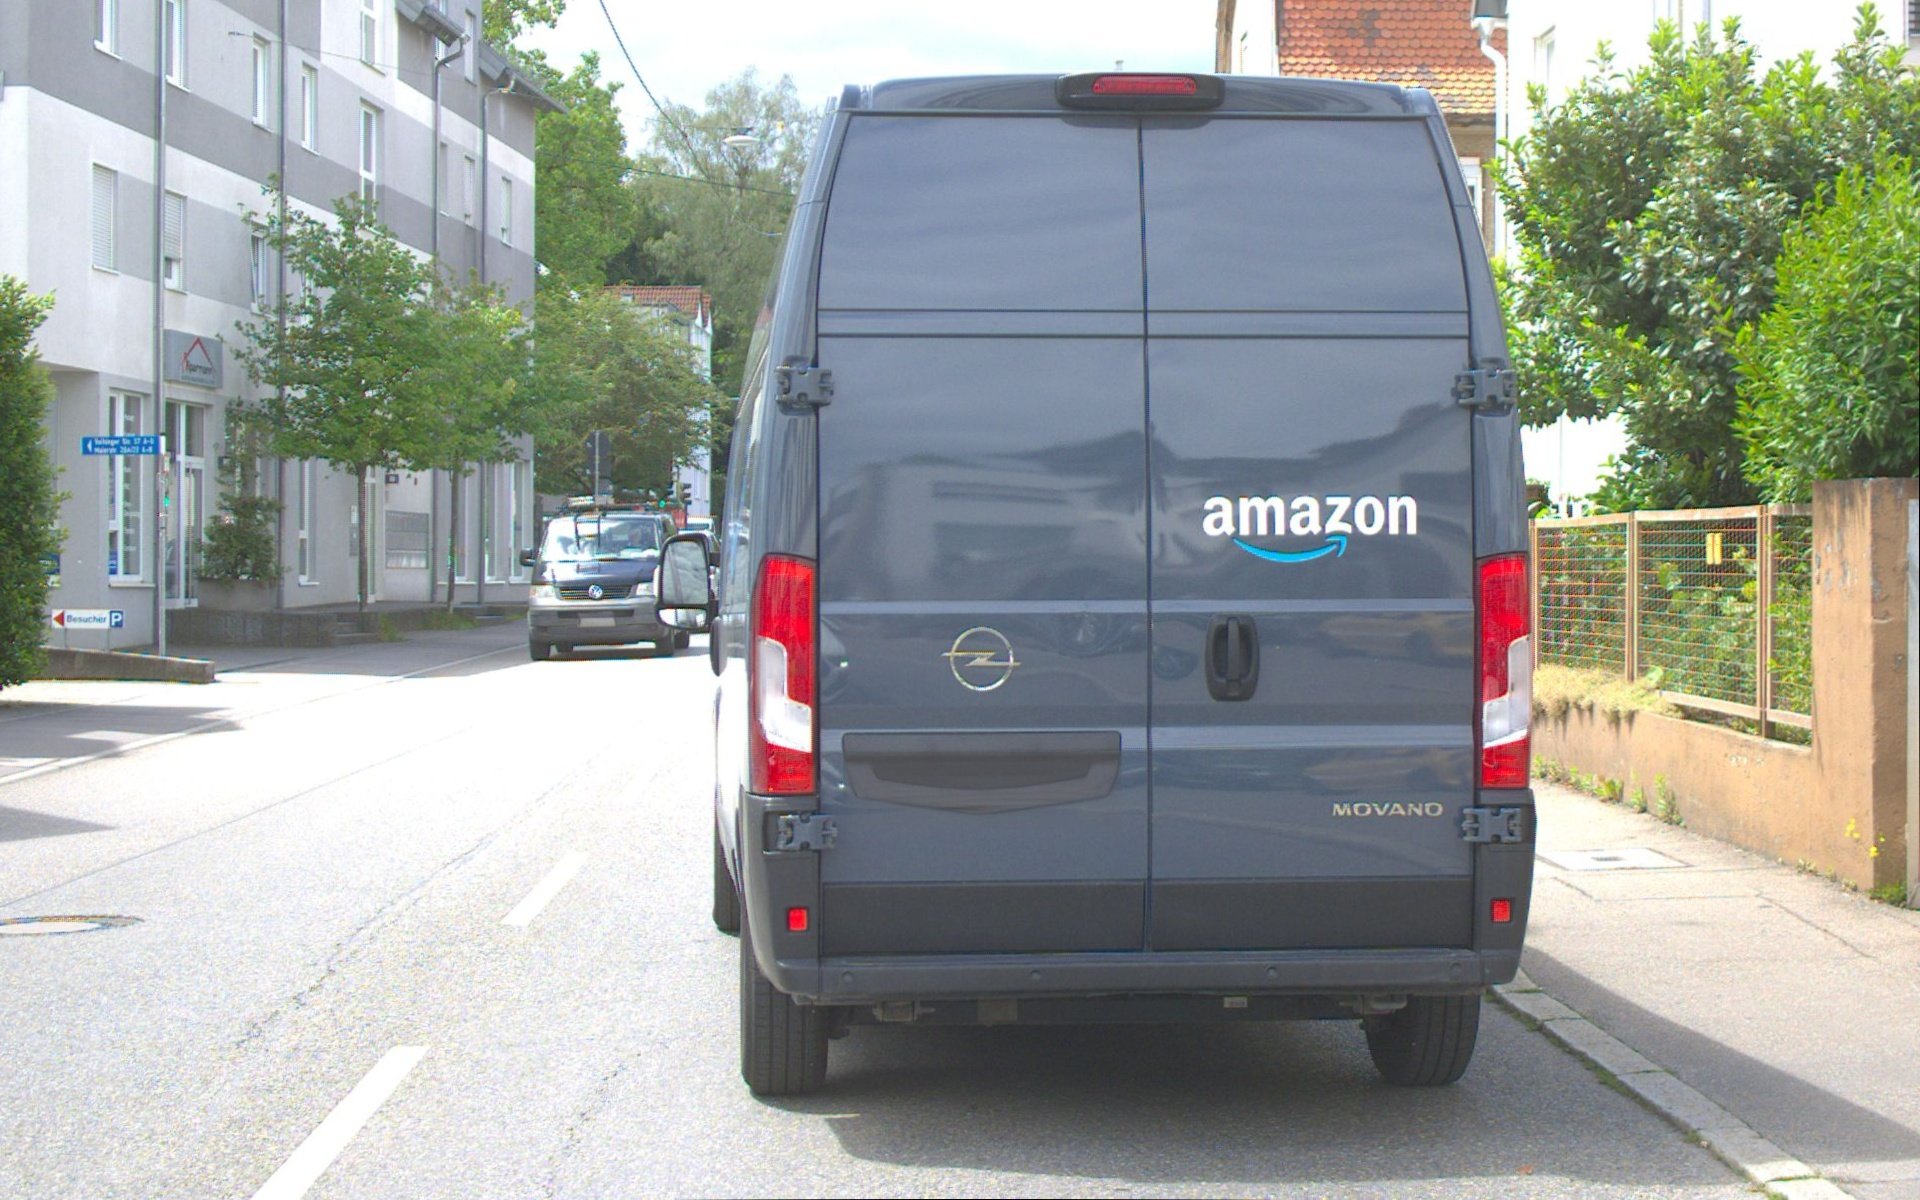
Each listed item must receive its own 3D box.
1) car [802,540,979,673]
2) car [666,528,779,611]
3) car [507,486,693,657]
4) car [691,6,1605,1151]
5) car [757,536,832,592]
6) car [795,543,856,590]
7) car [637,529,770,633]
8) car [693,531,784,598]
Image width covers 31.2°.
[{"bbox_3d":[-0.756,0.038,39.976,1.896,1.448,3.968,0,1,1],"label":"car"},{"bbox_3d":[-4.663,-0.628,68.065,2.105,1.590,4.650,0,1,-2],"label":"car"},{"bbox_3d":[-4.763,-0.409,46.129,2.105,2.114,4.766,-2,1,-2],"label":"car"},{"bbox_3d":[0.275,-0.098,11.220,2.252,2.786,5.570,0,1,-4],"label":"car"},{"bbox_3d":[-4.803,-1.058,100.260,2.105,1.590,4.650,0,1,-2],"label":"car"},{"bbox_3d":[-4.695,-1.183,120.256,2.105,1.590,4.650,0,1,-2],"label":"car"},{"bbox_3d":[-4.336,-0.349,58.777,2.105,1.704,4.766,0,1,-2],"label":"car"},{"bbox_3d":[-5.402,-0.879,84.335,2.105,1.590,4.650,0,1,-2],"label":"car"}]
